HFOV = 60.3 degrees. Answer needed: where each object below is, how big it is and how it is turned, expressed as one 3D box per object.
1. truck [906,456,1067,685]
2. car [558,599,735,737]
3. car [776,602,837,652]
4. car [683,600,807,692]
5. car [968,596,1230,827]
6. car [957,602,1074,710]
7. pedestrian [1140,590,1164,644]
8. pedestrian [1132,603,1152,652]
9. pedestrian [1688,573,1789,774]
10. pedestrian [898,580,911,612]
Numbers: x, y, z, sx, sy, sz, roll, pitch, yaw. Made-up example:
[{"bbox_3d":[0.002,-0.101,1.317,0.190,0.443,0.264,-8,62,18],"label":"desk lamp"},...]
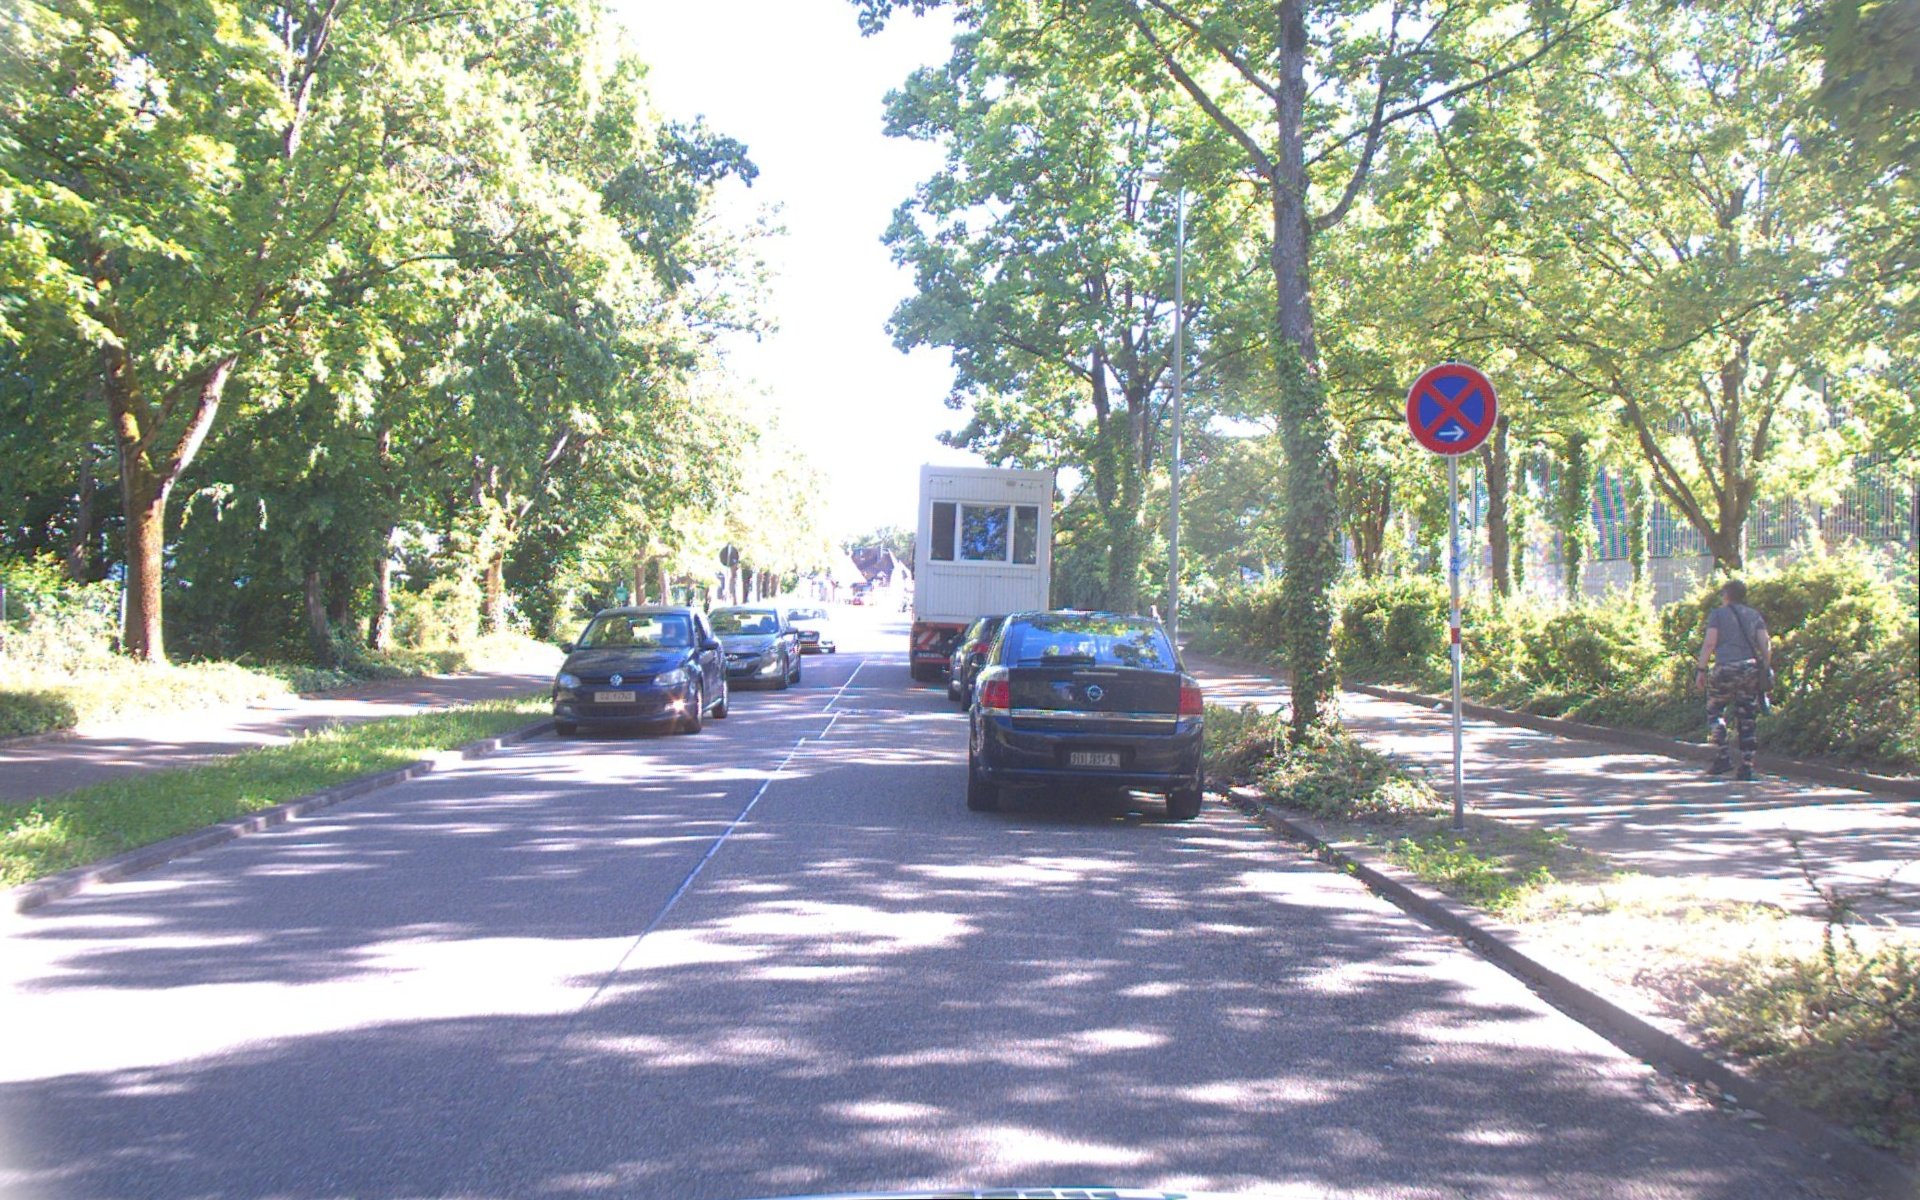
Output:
[{"bbox_3d":[0.318,-0.569,35.309,2.717,4.065,10.343,2,0,-2],"label":"truck"},{"bbox_3d":[-3.658,0.733,19.824,1.569,1.451,3.650,-1,1,-3],"label":"car"},{"bbox_3d":[-4.759,0.805,51.661,1.751,1.441,4.101,-1,1,-4],"label":"car"},{"bbox_3d":[-3.835,0.780,30.130,1.719,1.479,4.242,-1,1,0],"label":"car"},{"bbox_3d":[0.943,0.762,13.141,1.712,1.506,4.030,2,0,0],"label":"car"},{"bbox_3d":[0.789,0.785,25.063,1.606,1.445,4.000,-1,0,0],"label":"car"},{"bbox_3d":[6.558,0.570,56.407,0.684,1.844,0.699,0,0,-5],"label":"pedestrian"},{"bbox_3d":[6.199,0.926,56.300,0.586,1.639,0.599,0,0,-5],"label":"pedestrian"},{"bbox_3d":[6.553,0.599,13.945,0.559,1.636,0.672,1,0,7],"label":"pedestrian"},{"bbox_3d":[-3.727,-0.273,111.964,0.737,2.150,0.799,3,0,1],"label":"pedestrian"}]
